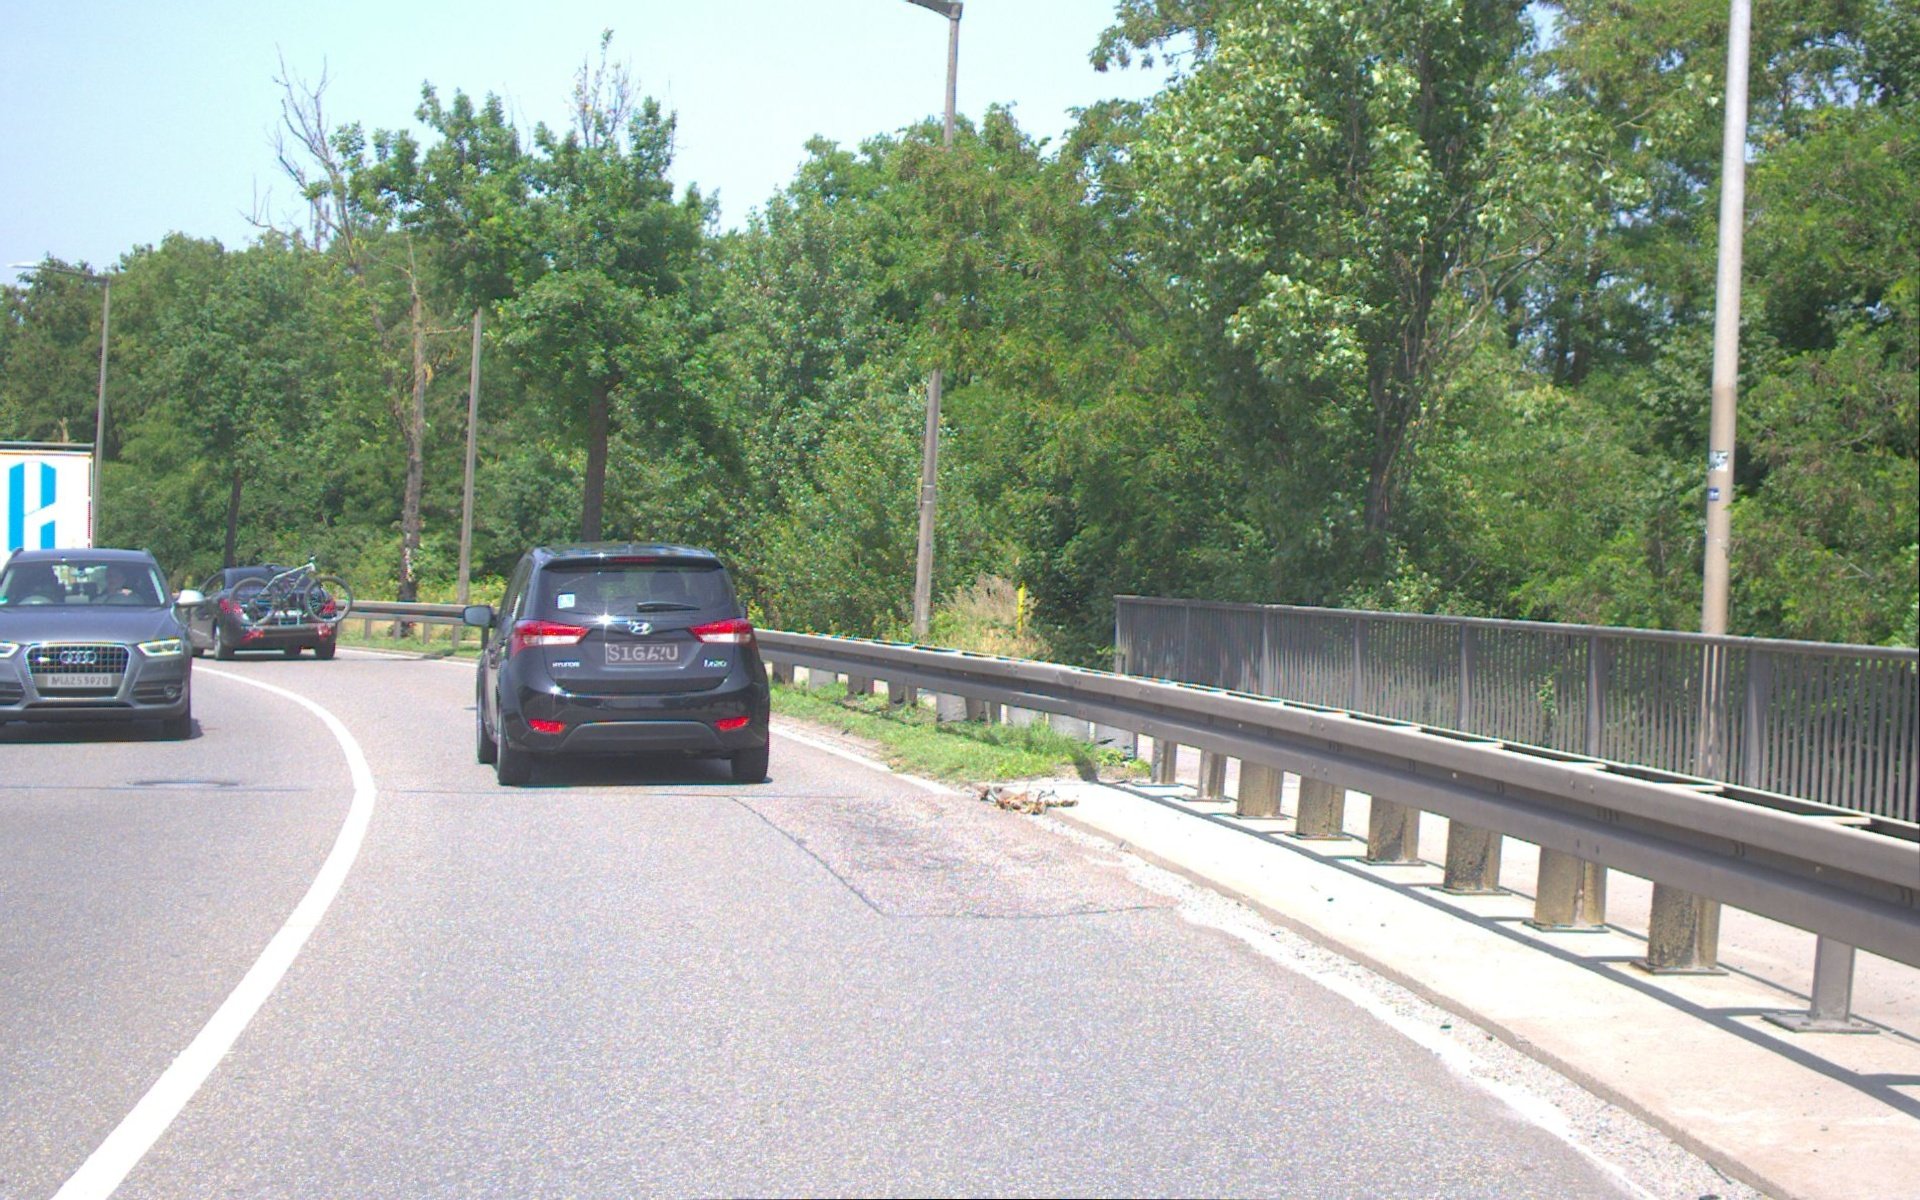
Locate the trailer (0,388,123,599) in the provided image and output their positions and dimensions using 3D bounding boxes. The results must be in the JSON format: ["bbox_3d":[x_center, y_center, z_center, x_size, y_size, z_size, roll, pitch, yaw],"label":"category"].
[{"bbox_3d":[-22.006,-2.396,76.634,3.569,4.369,11.442,0,2,-29],"label":"trailer"}]

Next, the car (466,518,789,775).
[{"bbox_3d":[-2.364,0.252,23.580,1.921,1.568,3.893,1,2,-10],"label":"car"}]

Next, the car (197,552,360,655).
[{"bbox_3d":[-10.309,0.031,51.838,2.011,1.424,3.778,0,2,-17],"label":"car"}]

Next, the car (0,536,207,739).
[{"bbox_3d":[-7.405,0.262,29.257,1.822,1.531,4.196,1,2,-11],"label":"car"}]
